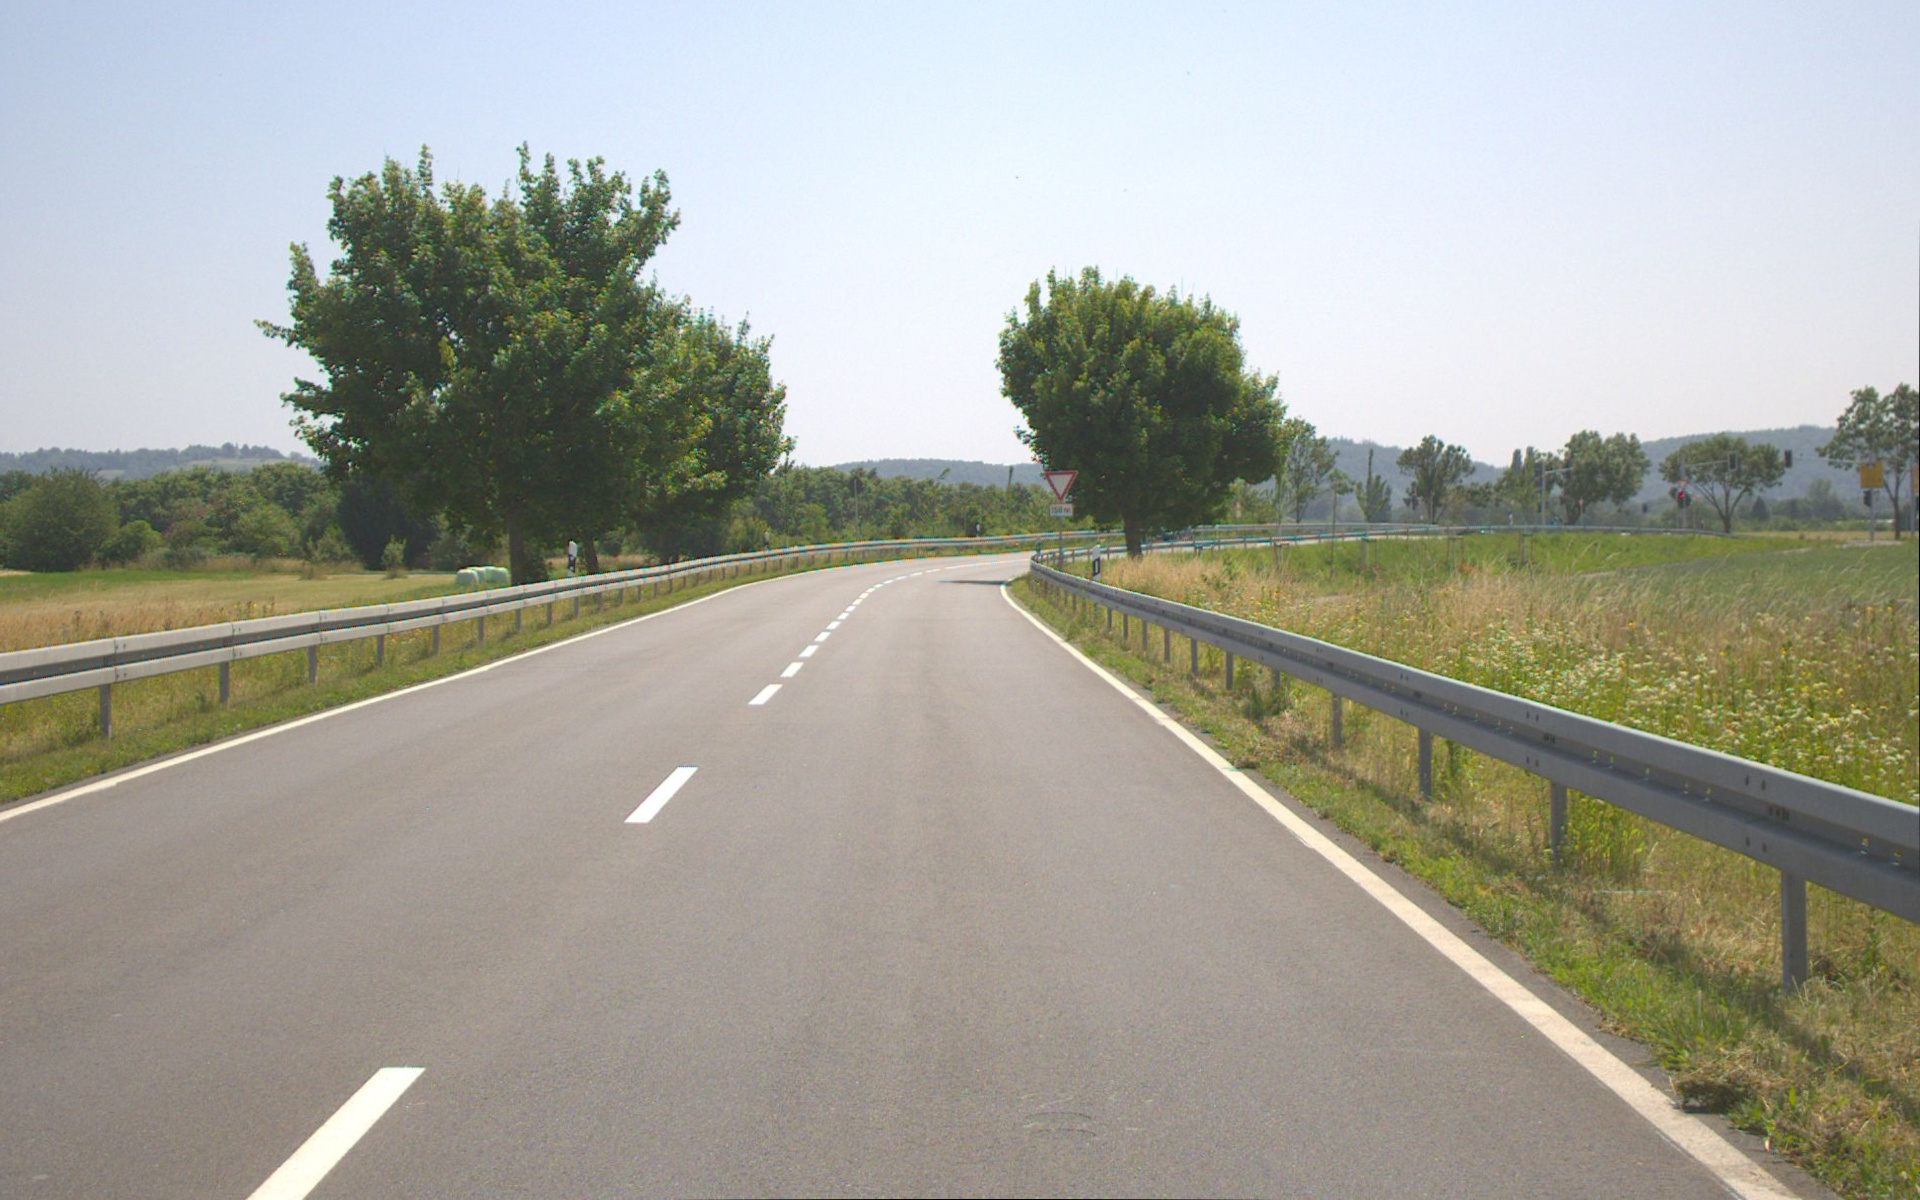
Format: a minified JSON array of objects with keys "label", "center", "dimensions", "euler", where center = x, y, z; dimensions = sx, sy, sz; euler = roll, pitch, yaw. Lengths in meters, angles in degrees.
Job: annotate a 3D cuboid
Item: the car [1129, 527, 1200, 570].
[{"label":"car","center":[10.201,-2.567,171.046],"dimensions":[1.997,2.007,3.994],"euler":[2,0,28]}]
